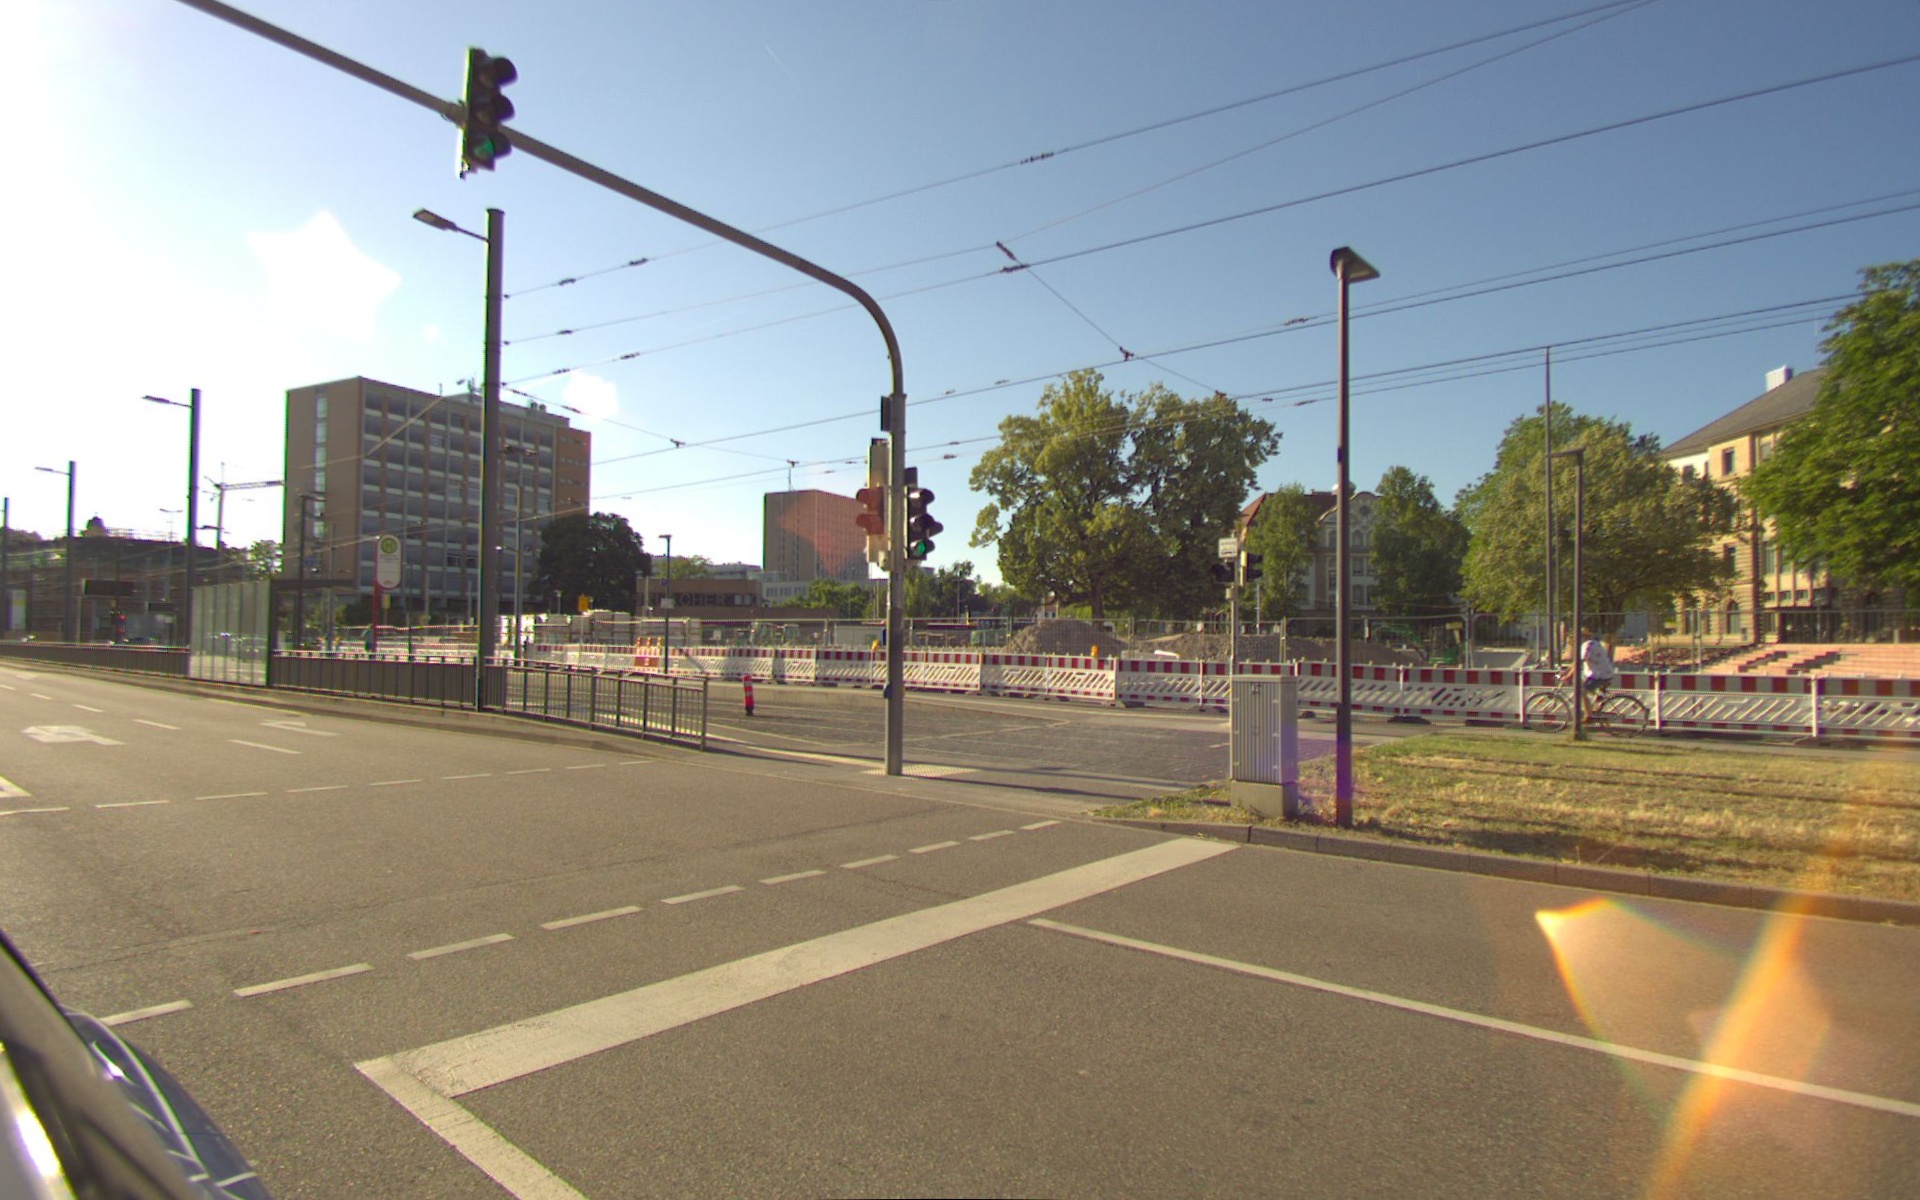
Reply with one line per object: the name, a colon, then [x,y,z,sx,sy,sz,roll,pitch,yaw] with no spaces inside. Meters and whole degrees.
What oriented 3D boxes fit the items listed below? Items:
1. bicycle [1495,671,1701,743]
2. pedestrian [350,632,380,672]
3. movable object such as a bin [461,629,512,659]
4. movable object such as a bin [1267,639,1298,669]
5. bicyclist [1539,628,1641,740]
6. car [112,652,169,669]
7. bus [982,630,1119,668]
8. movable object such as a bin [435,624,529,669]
bicycle: [10.723,1.822,17.141,2.815,1.105,0.955,-5,-5,33]
pedestrian: [-27.714,2.450,47.147,1.179,1.782,0.794,-6,-7,40]
movable object such as a bin: [-28.229,2.642,60.287,3.861,1.599,1.161,-6,-7,39]
movable object such as a bin: [23.989,4.077,75.204,1.985,2.029,3.973,-3,-6,20]
bicyclist: [10.686,1.434,17.195,1.315,1.823,0.955,-5,-5,33]
car: [-88.629,6.572,109.499,4.629,1.697,2.005,2,-7,-35]
bus: [8.572,4.733,96.687,12.464,3.219,3.255,-1,-6,-6]
movable object such as a bin: [-30.476,3.012,64.566,5.135,2.545,2.615,-4,-6,22]
